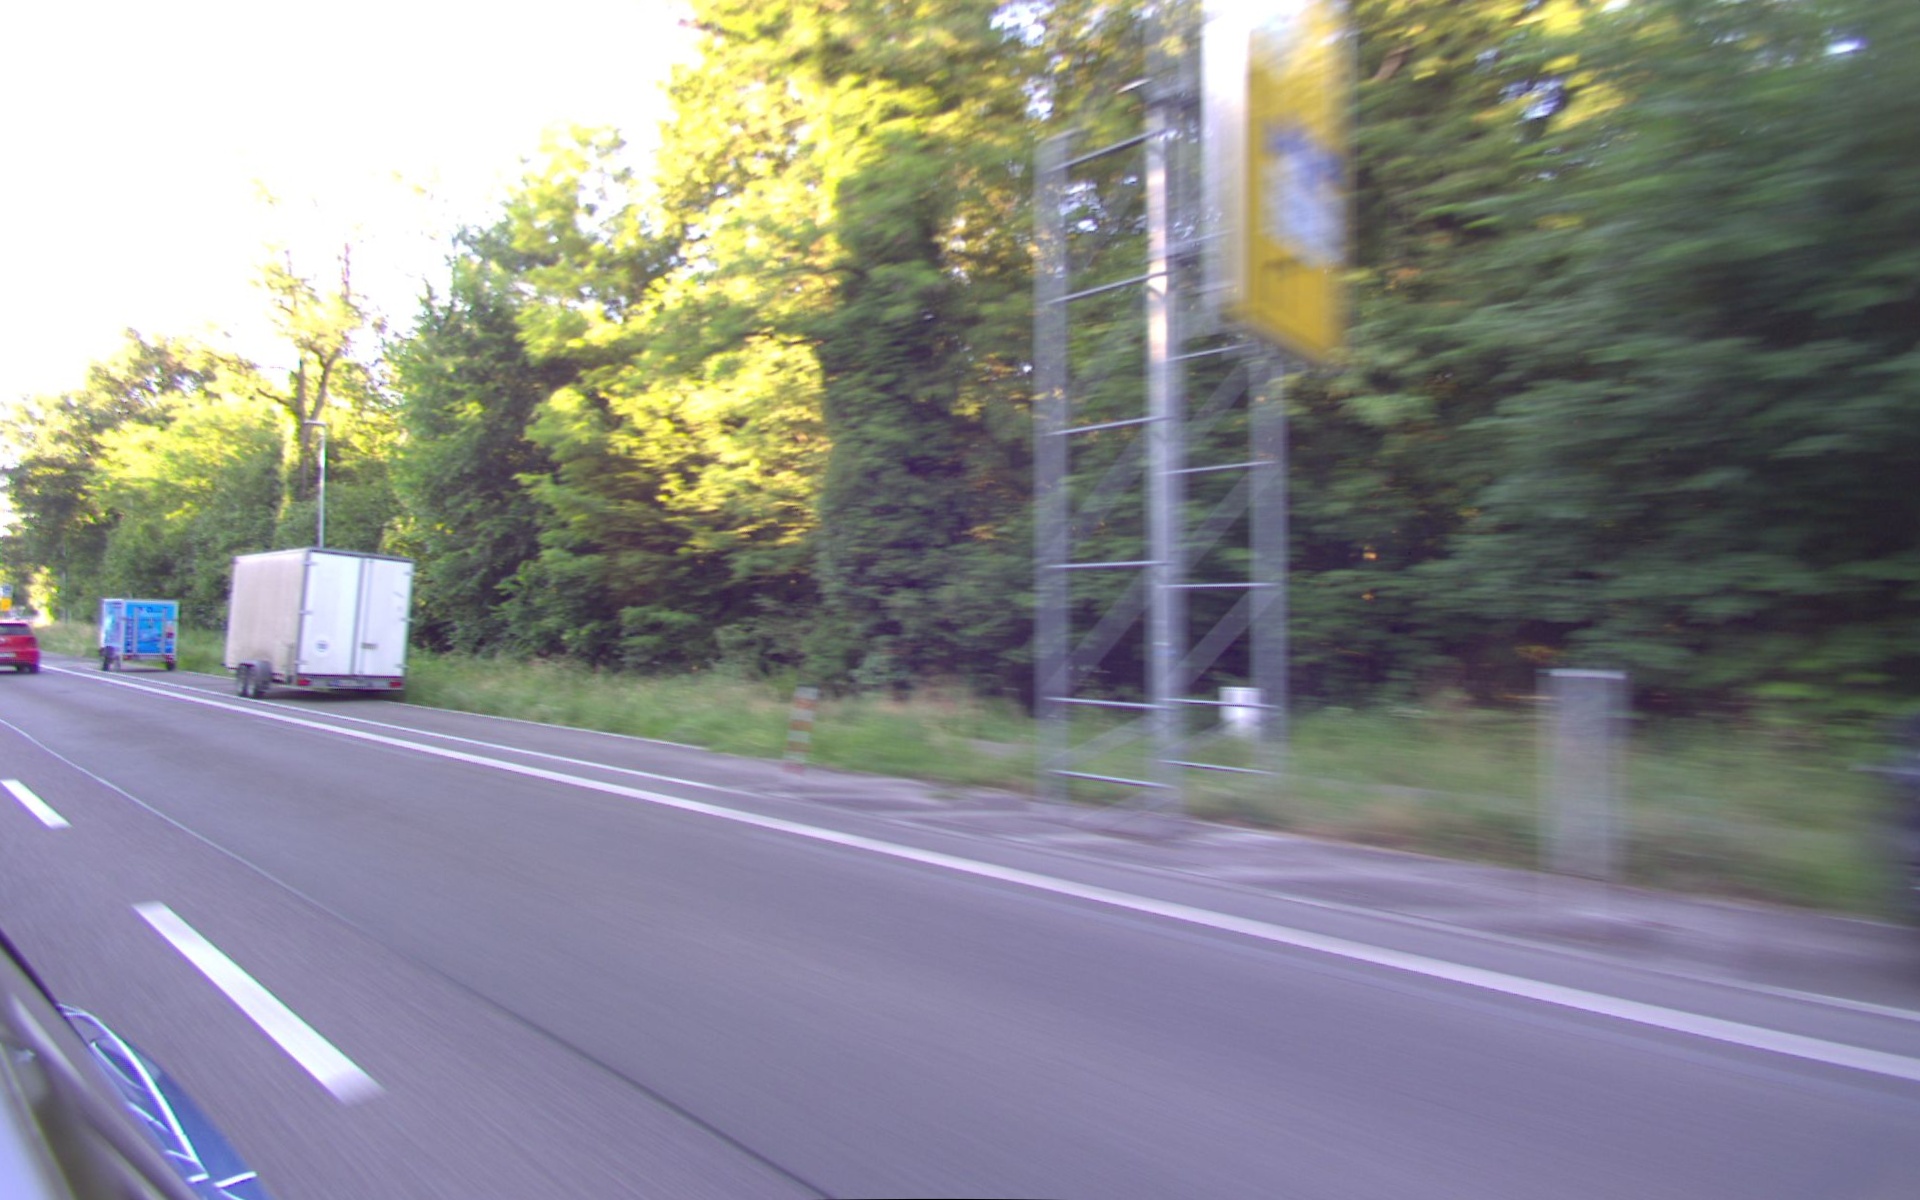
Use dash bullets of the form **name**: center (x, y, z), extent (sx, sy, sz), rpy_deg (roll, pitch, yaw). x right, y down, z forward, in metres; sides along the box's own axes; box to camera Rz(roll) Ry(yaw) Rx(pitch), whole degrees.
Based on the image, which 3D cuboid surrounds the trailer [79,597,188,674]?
- **trailer**: center (-24.997, 1.049, 30.578), extent (4.140, 2.184, 1.798), rpy_deg (-1, -2, 40)

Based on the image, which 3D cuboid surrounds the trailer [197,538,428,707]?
- **trailer**: center (-13.163, 0.487, 20.421), extent (5.623, 2.946, 2.302), rpy_deg (-1, -4, 41)

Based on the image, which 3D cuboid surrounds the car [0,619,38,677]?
- **car**: center (-26.633, 1.282, 27.701), extent (4.037, 1.497, 1.664), rpy_deg (-1, -2, 42)

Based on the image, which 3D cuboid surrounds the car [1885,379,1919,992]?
- **car**: center (6.435, 0.351, 2.689), extent (5.763, 2.382, 1.972), rpy_deg (-1, -4, 41)
